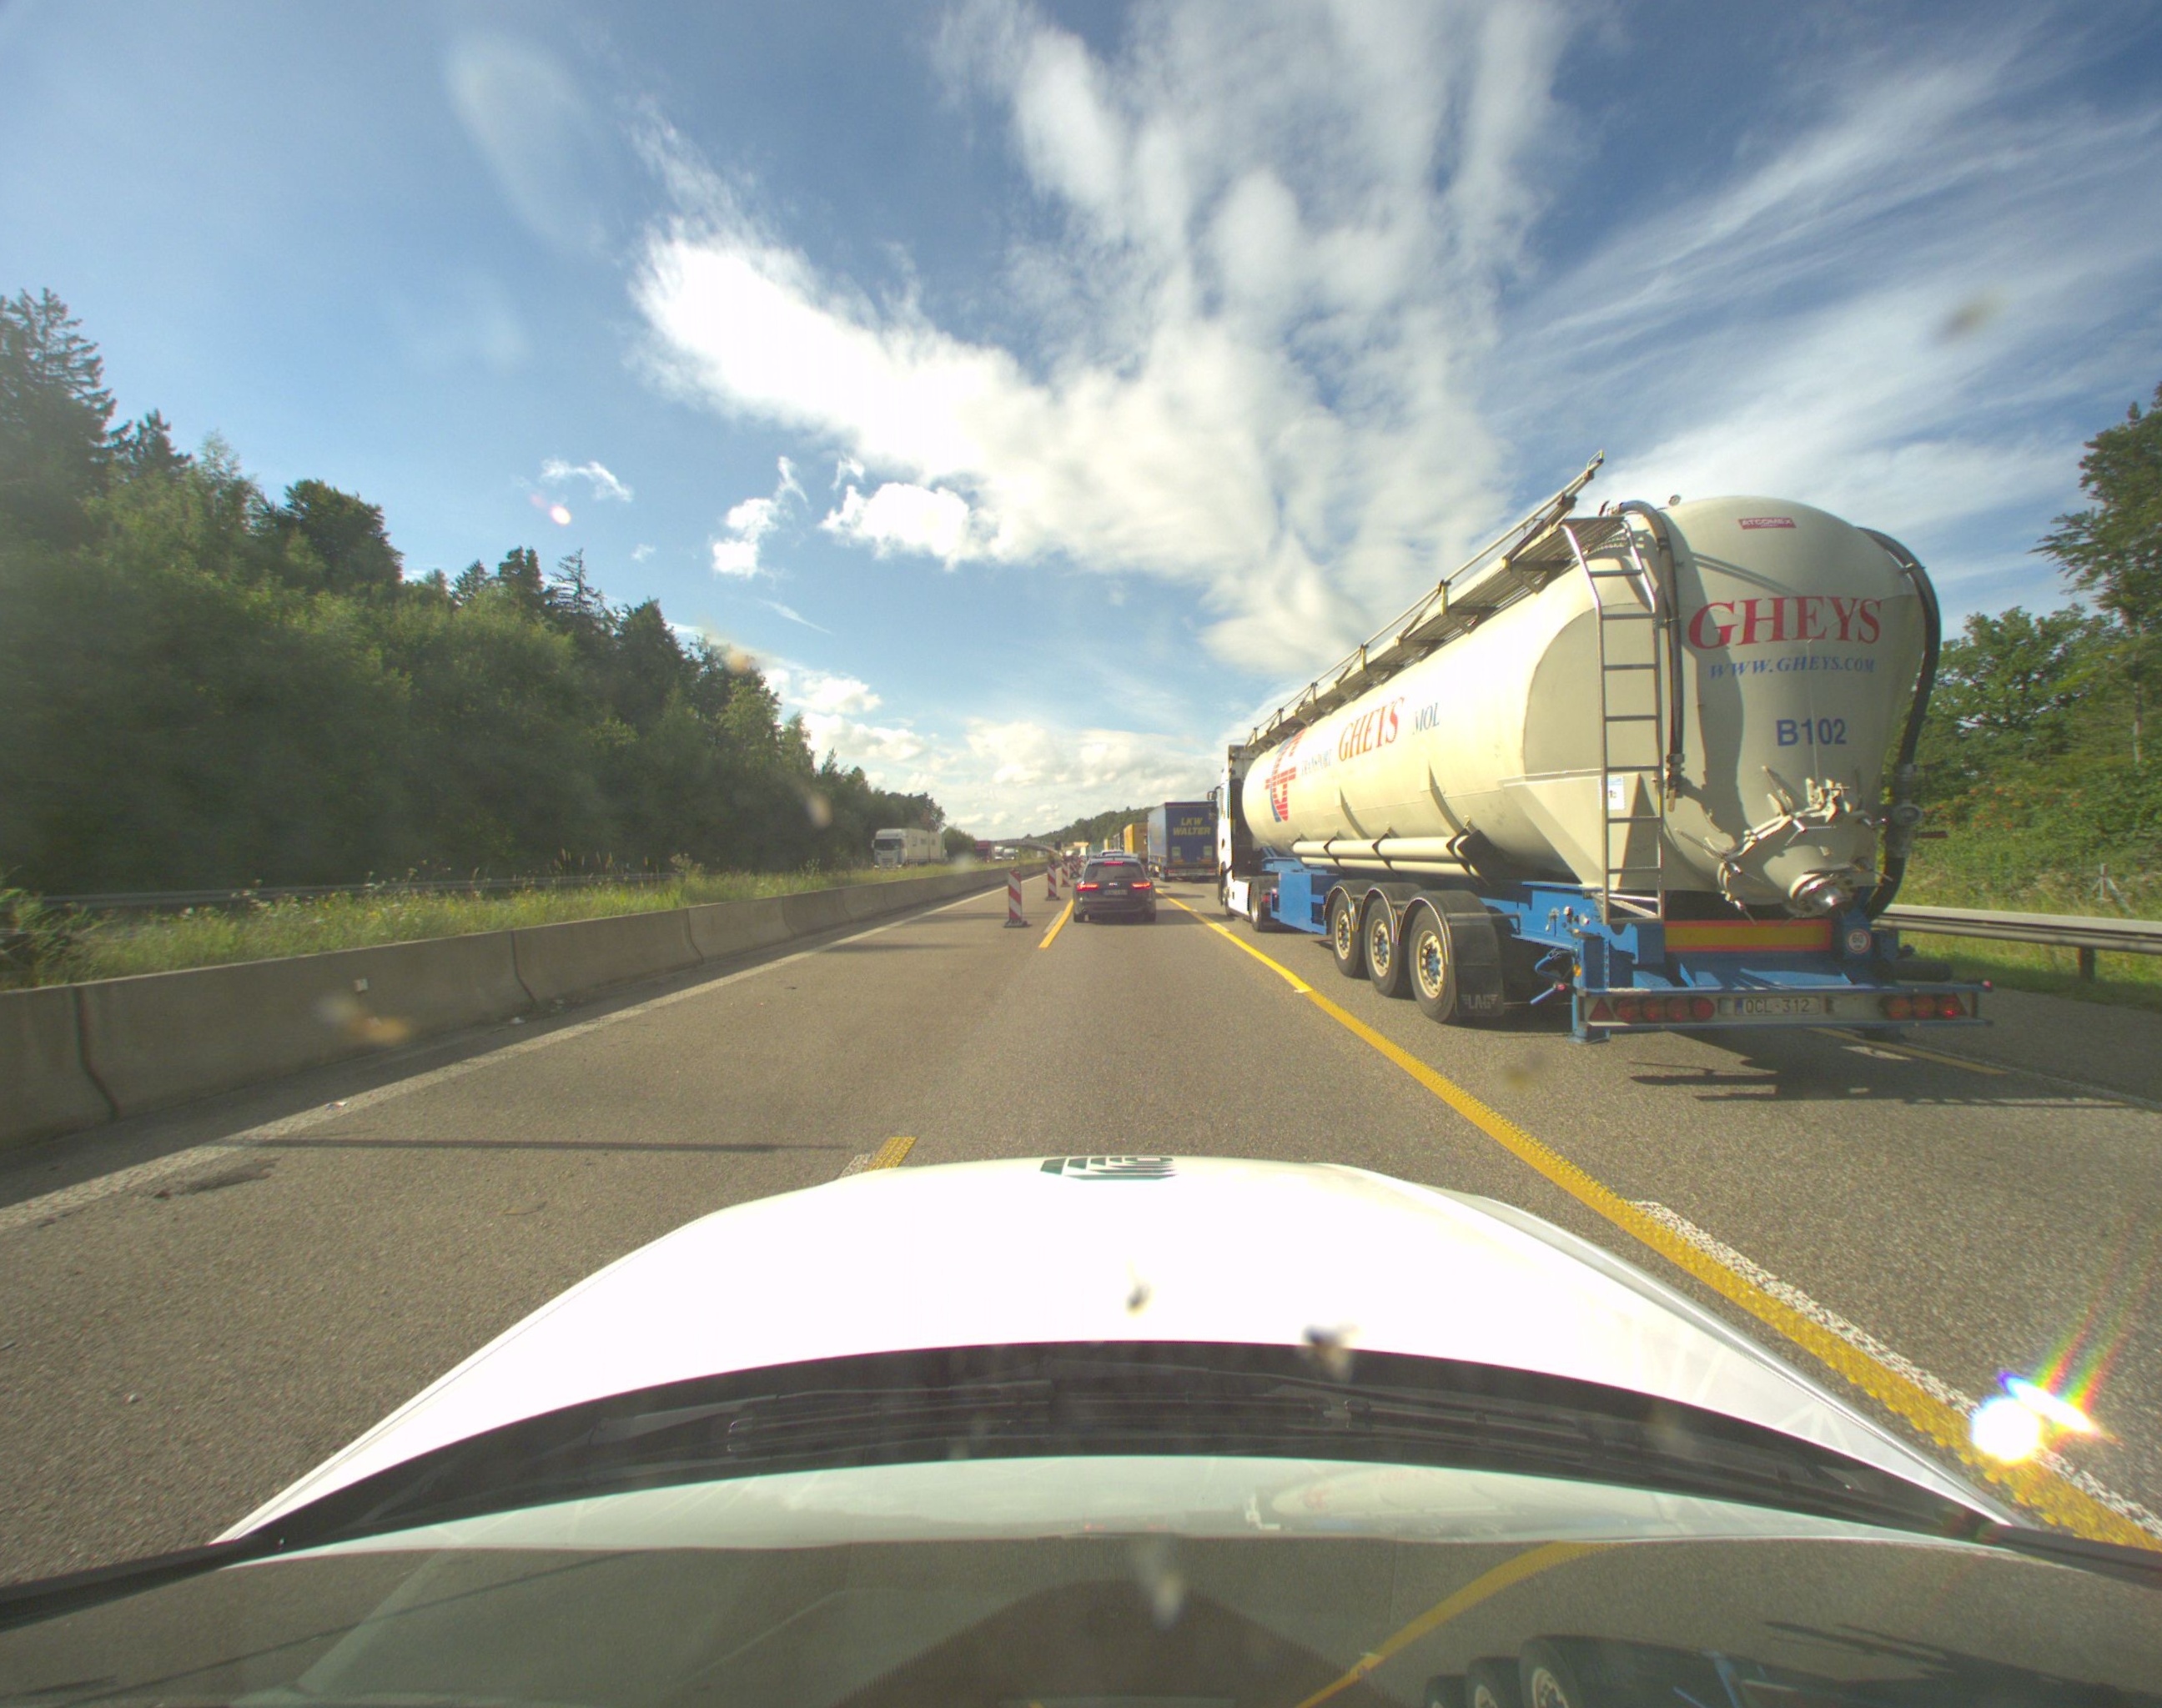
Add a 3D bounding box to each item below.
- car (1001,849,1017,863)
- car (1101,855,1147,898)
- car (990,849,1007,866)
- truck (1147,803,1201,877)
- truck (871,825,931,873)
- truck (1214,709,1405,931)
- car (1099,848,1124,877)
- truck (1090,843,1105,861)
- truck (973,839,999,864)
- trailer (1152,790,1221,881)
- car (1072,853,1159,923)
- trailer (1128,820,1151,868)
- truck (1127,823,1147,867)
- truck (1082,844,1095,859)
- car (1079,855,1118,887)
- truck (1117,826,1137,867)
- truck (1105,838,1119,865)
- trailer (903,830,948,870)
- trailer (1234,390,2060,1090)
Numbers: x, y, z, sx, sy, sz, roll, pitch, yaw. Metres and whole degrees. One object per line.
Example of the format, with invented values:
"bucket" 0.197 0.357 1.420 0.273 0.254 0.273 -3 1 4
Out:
"car" -12.740 0.314 144.583 2.152 2.451 6.334 -1 0 2
"car" 1.511 0.764 29.077 1.518 1.439 3.286 0 -1 2
"car" -16.415 0.703 162.290 2.478 3.370 7.454 0 -1 1
"truck" 5.865 -0.789 52.509 2.795 4.370 7.794 0 -1 2
"truck" -16.263 -0.373 74.456 2.772 3.985 10.865 0 -1 2
"truck" 4.588 -0.591 17.575 2.649 3.972 5.781 0 -1 2
"car" 2.009 0.570 53.241 1.575 1.837 3.113 0 -1 2
"truck" 4.005 -0.510 197.746 3.293 4.175 9.700 -1 0 0
"truck" -15.830 -0.410 136.100 2.790 3.992 10.190 -1 0 2
"trailer" 5.605 -0.839 44.951 2.795 4.413 10.436 0 -1 2
"car" 0.806 0.728 19.286 1.842 1.463 4.002 -1 0 2
"trailer" 5.007 -0.797 70.111 1.611 3.918 6.490 0 -1 1
"truck" 5.082 -0.805 74.100 1.604 3.897 4.073 0 -1 1
"truck" 1.953 -0.710 227.976 3.295 4.175 9.697 -1 0 -1
"car" 0.841 0.754 37.844 1.745 1.397 3.609 0 -1 2
"truck" 5.671 -0.881 102.073 1.987 4.914 9.562 -1 0 1
"truck" 5.104 -0.403 134.228 2.130 4.257 7.073 0 -1 2
"trailer" -15.976 -0.325 84.135 2.780 3.923 8.491 0 -1 1
"trailer" 4.374 -0.628 10.909 2.634 3.943 12.602 0 0 2
